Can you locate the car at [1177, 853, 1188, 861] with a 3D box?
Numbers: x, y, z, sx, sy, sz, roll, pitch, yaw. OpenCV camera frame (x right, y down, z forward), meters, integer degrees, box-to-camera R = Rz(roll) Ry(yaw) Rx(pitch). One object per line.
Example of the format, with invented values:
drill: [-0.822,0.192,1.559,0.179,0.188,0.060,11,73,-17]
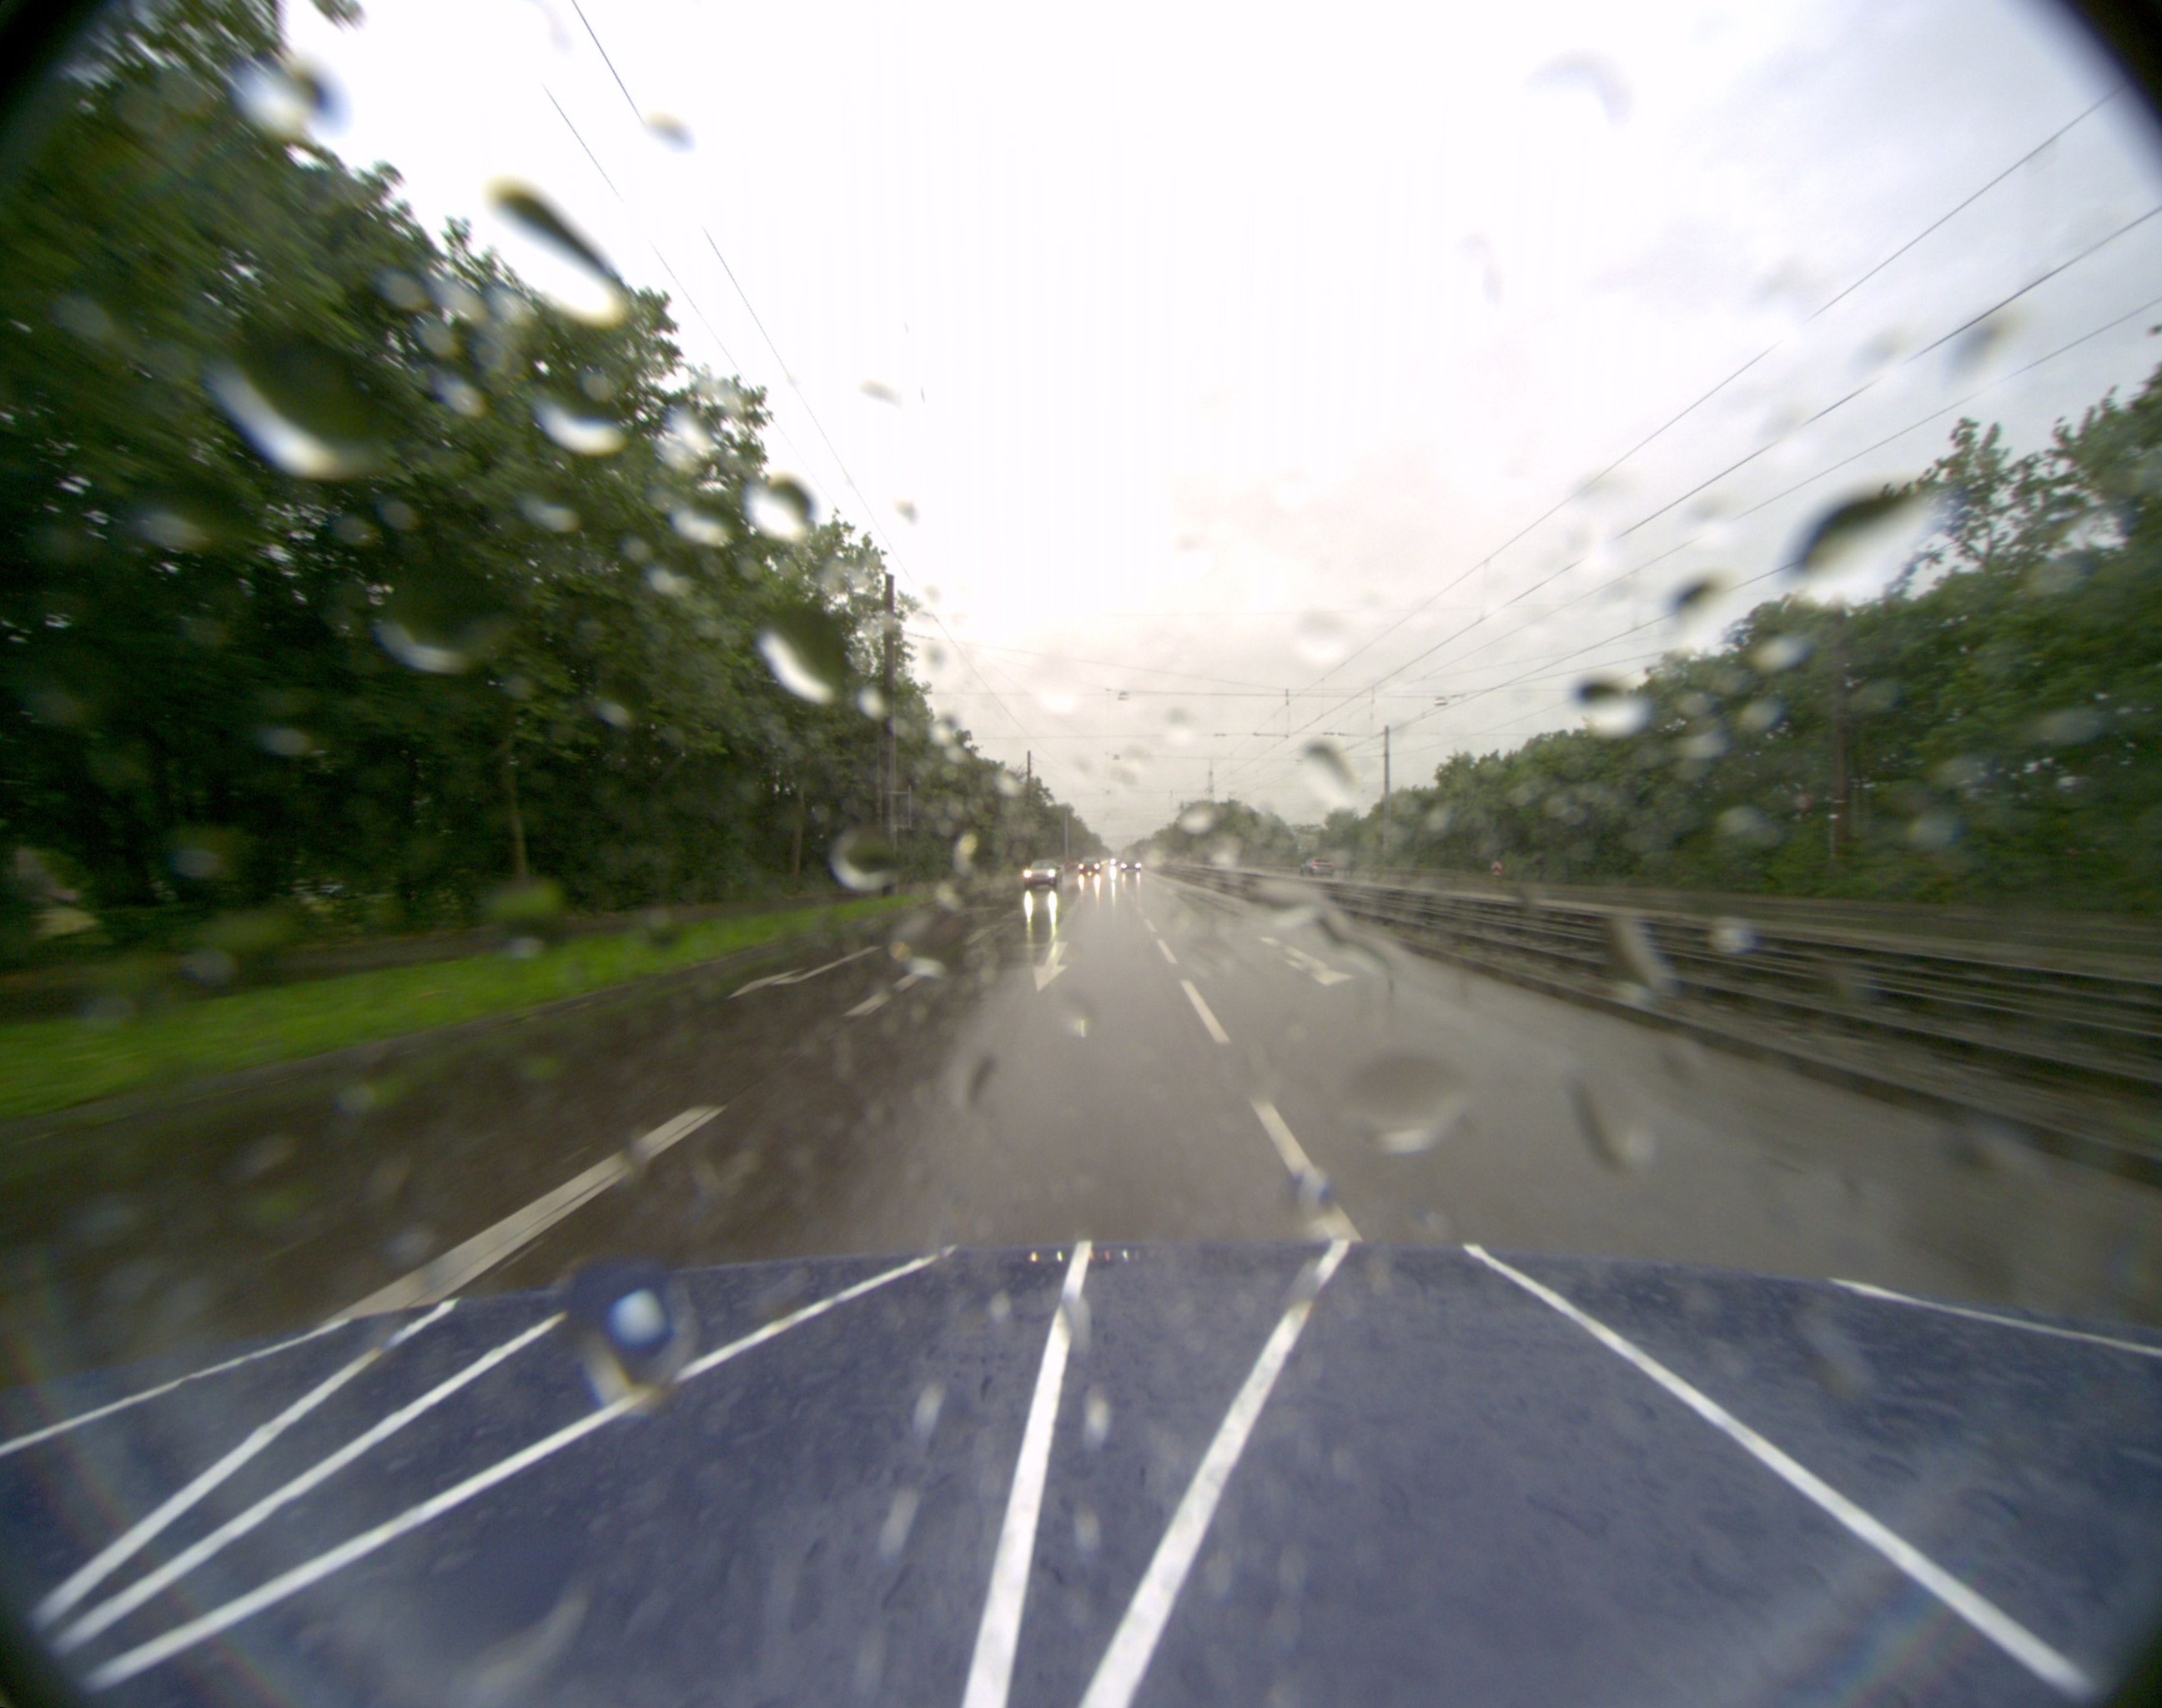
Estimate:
car: [20.975,0.523,157.509,1.845,1.565,4.385,-1,0,2]

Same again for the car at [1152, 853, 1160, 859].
car: [22.284,0.562,225.451,1.853,1.821,4.394,-4,0,2]

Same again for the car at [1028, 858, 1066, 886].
car: [-1.820,0.939,41.281,1.750,1.412,4.000,0,1,2]

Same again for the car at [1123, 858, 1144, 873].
car: [5.295,1.152,77.684,1.971,1.412,4.000,0,1,2]

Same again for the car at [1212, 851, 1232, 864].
car: [19.797,0.471,107.090,1.998,1.662,4.872,-1,0,1]

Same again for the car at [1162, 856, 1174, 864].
car: [17.425,1.184,152.388,1.998,1.380,4.853,-1,0,1]

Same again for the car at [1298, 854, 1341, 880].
car: [18.287,0.965,58.388,1.998,1.772,4.000,-5,0,1]

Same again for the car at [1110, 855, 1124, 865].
car: [5.258,0.810,110.788,1.971,1.412,4.000,0,1,2]
